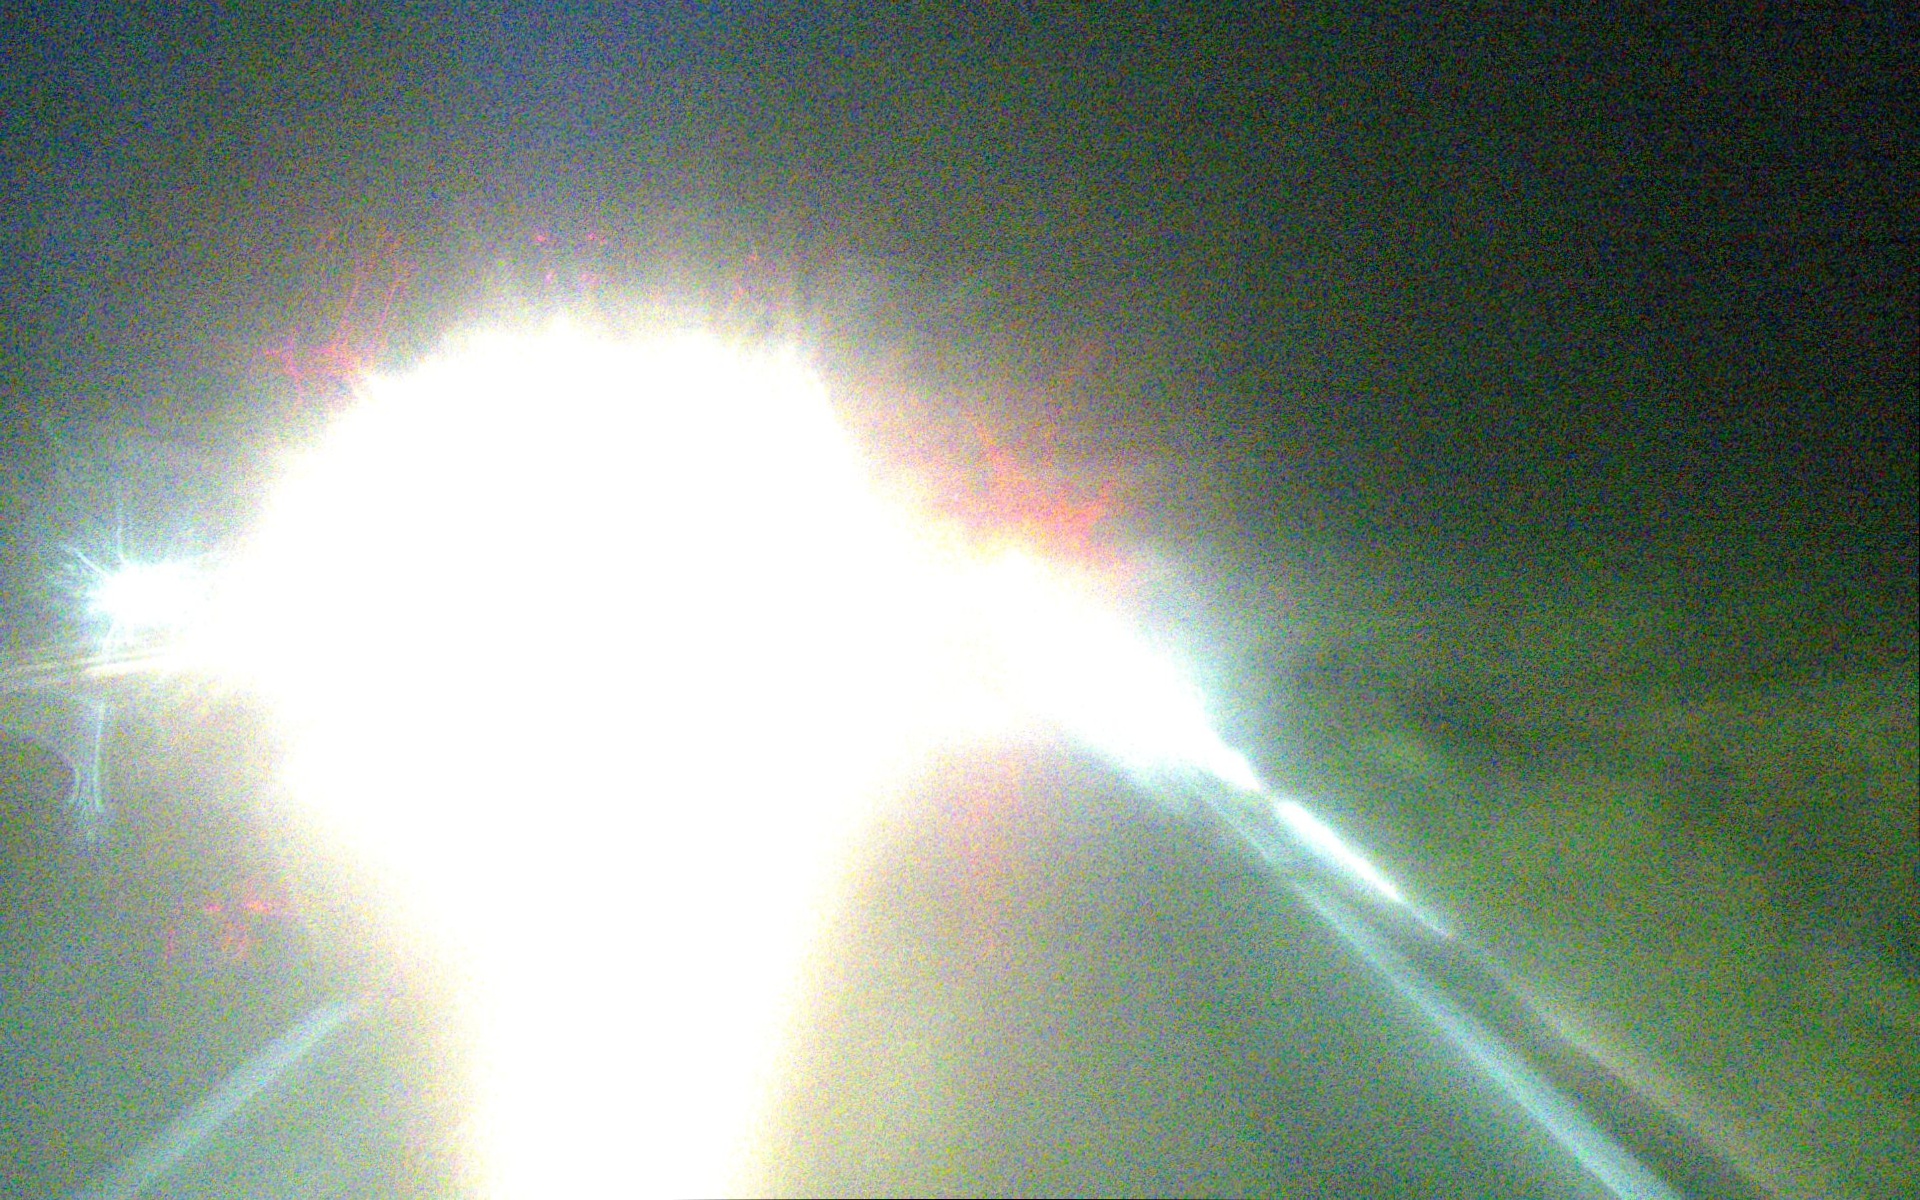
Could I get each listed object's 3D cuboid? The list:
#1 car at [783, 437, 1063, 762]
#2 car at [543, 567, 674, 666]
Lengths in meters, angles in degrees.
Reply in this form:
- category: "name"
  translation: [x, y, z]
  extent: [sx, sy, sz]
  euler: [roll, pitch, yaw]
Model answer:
- category: "car"
  translation: [-0.324, -0.033, 29.787]
  extent: [2.181, 2.548, 4.508]
  euler: [1, 1, -1]
- category: "car"
  translation: [-5.578, 0.229, 54.883]
  extent: [1.851, 1.483, 3.994]
  euler: [0, 1, -3]
